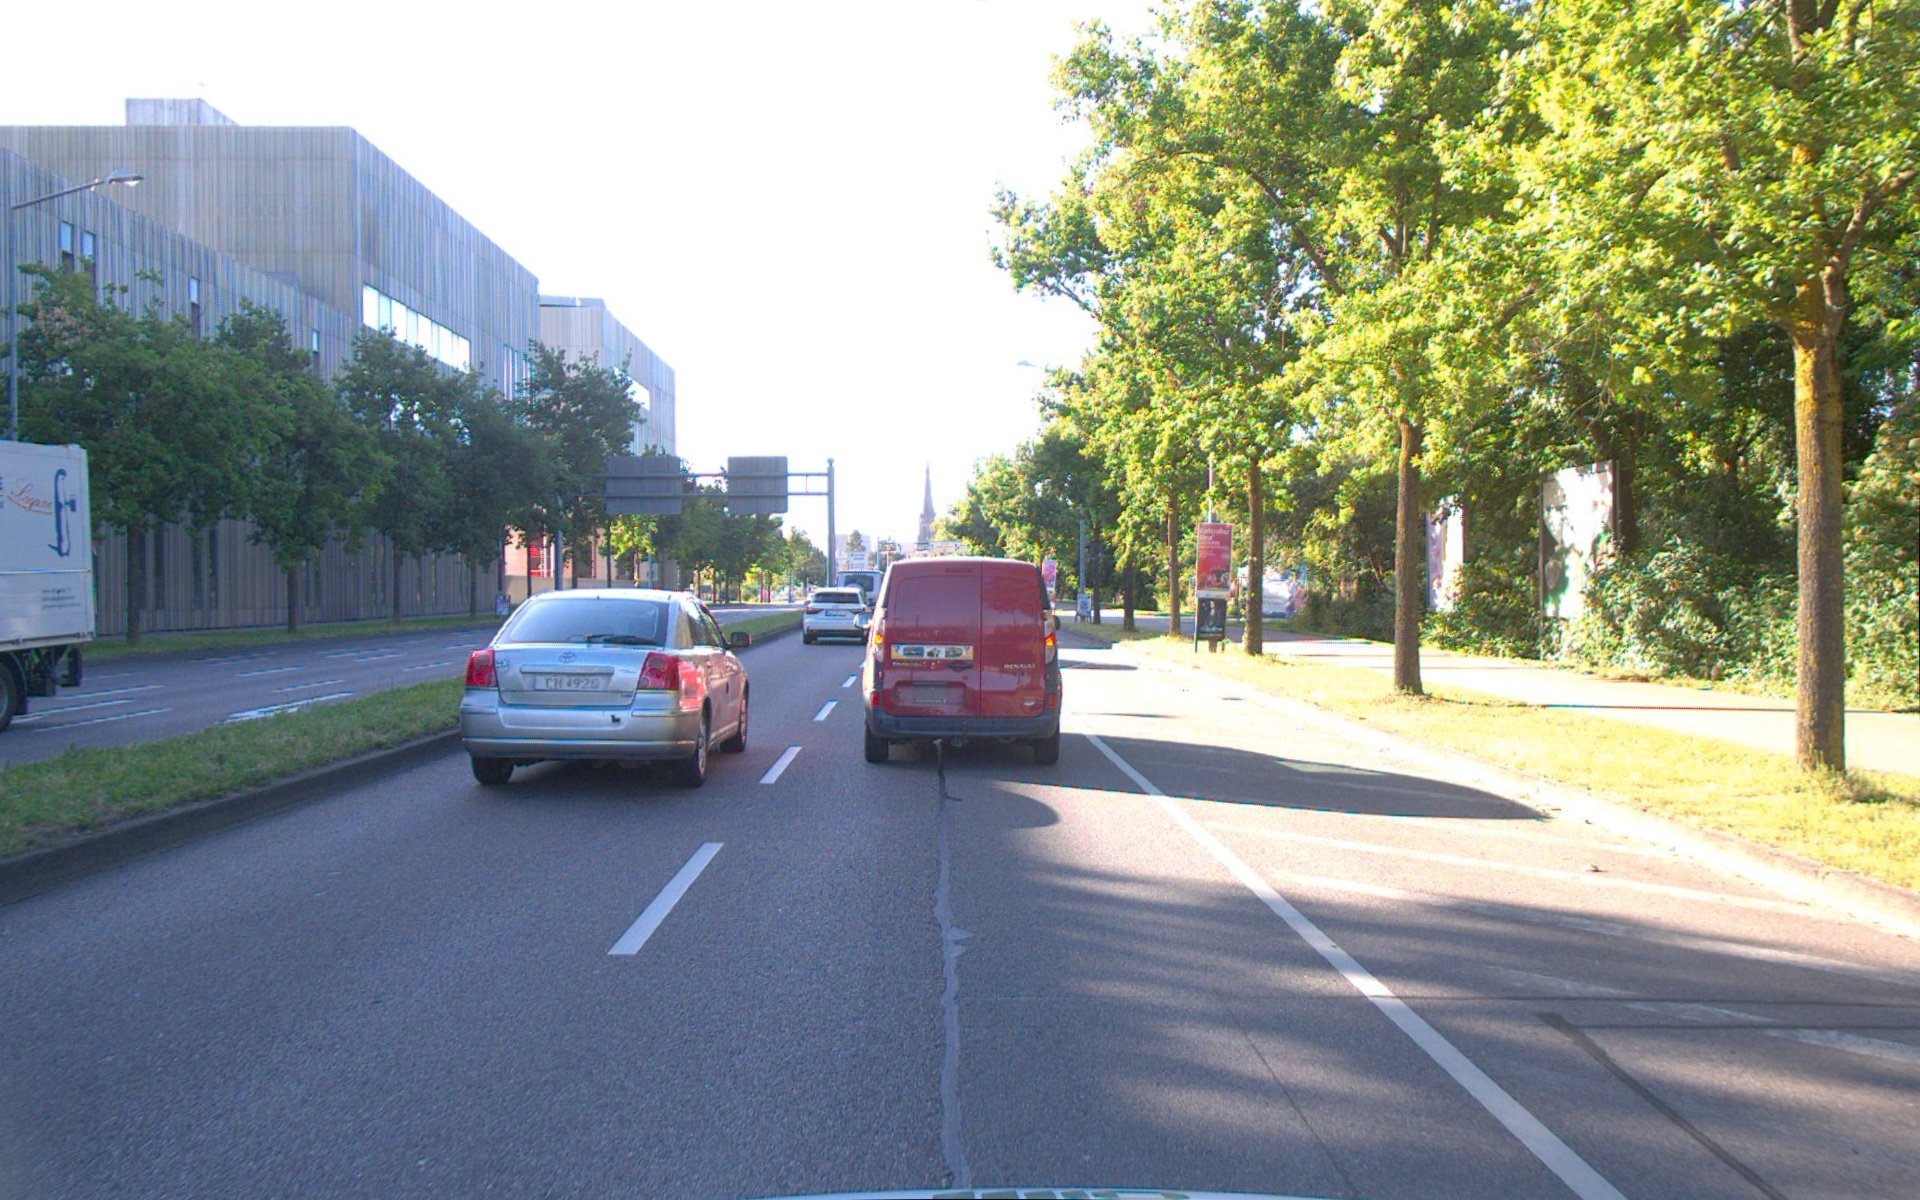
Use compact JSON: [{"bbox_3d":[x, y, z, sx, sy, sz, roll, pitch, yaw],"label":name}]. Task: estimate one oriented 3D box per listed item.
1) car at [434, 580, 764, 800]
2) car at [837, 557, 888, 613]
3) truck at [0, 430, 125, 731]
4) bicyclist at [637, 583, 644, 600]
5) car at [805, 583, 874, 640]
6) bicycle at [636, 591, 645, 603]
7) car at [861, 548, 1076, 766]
[{"bbox_3d":[-2.730,0.615,13.471,1.803,1.482,4.161,1,0,-1],"label":"car"},{"bbox_3d":[-3.354,-0.510,57.422,1.628,1.889,3.558,0,0,-2],"label":"car"},{"bbox_3d":[-10.875,-0.147,15.313,2.631,3.012,7.113,-2,0,-1],"label":"truck"},{"bbox_3d":[-27.287,-0.740,141.191,0.472,1.419,0.844,0,-1,-2],"label":"bicyclist"},{"bbox_3d":[-3.102,0.286,43.215,1.628,1.422,3.558,0,0,-2],"label":"car"},{"bbox_3d":[-27.279,-0.229,141.121,0.477,1.021,2.095,0,0,-2],"label":"bicycle"},{"bbox_3d":[0.022,0.473,15.813,1.769,1.790,4.005,1,0,-2],"label":"car"}]
